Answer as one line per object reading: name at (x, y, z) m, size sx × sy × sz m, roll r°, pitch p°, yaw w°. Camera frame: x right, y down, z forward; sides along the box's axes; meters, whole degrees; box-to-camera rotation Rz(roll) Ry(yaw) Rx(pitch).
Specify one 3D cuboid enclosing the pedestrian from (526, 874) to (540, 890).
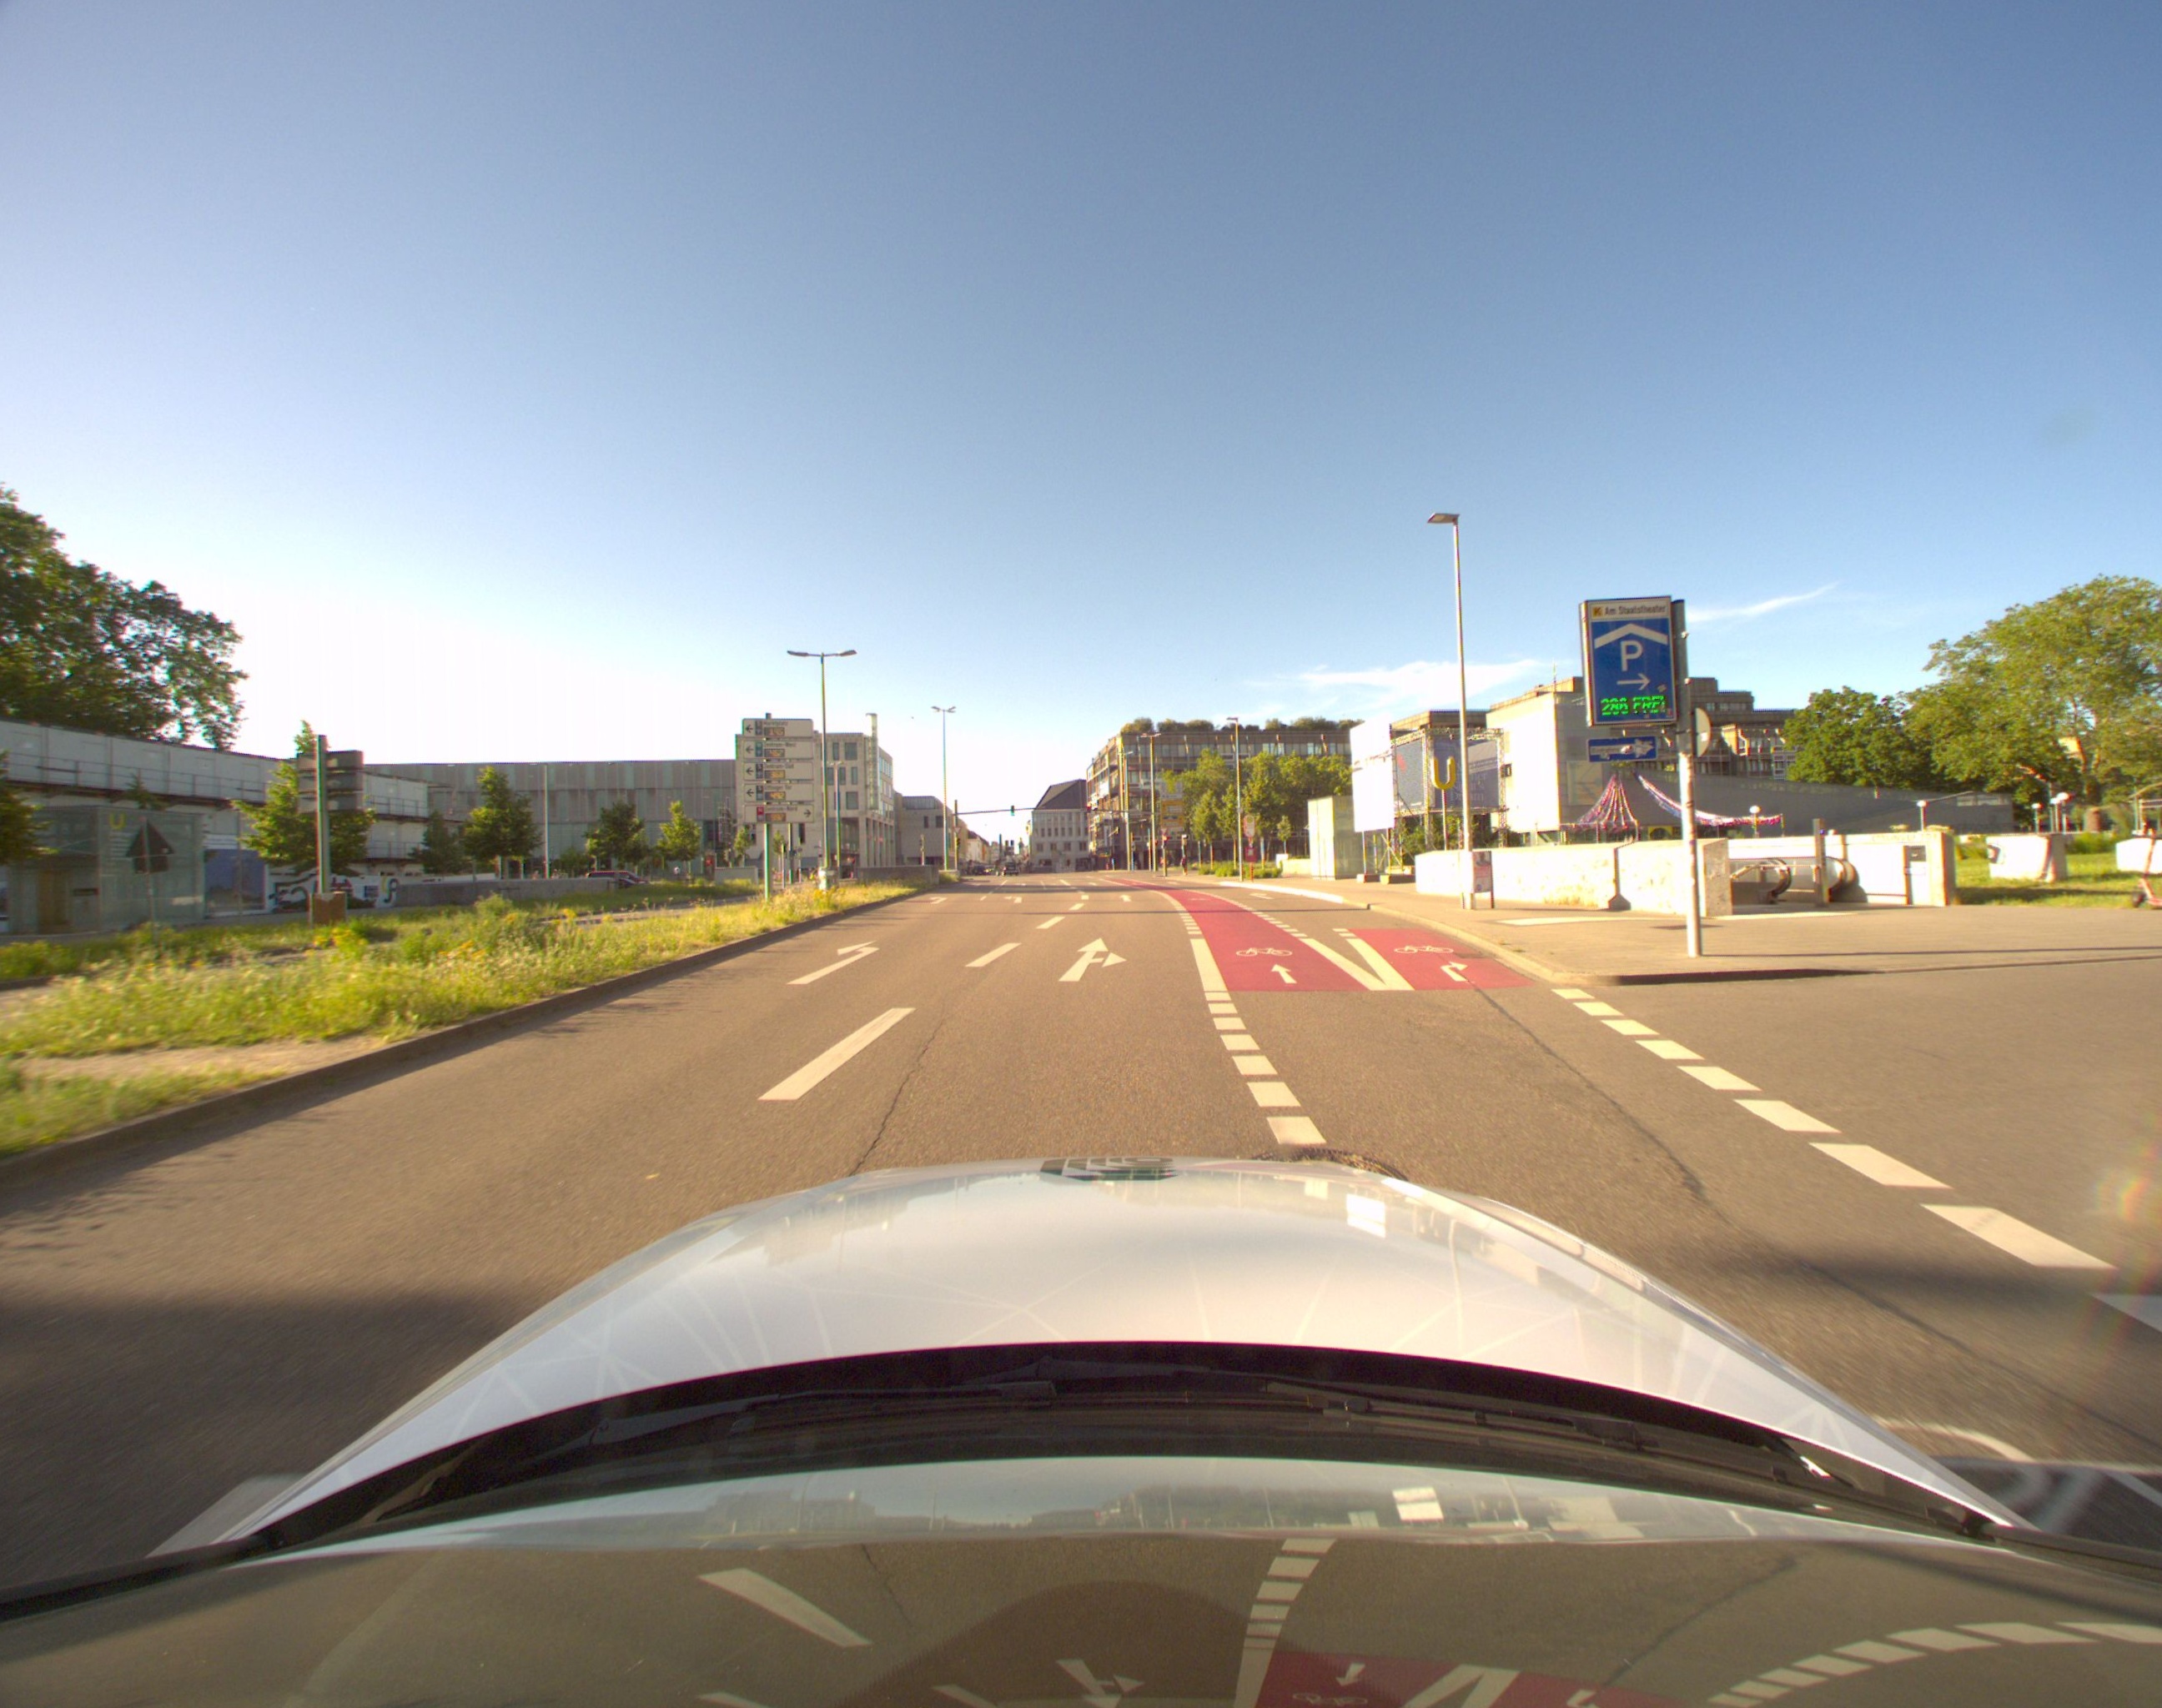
pedestrian at (-51.790, 2.640, 76.976) m, size 0.801 × 1.502 × 0.721 m, roll -2°, pitch -1°, yaw -11°

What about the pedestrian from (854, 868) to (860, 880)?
pedestrian at (-31.073, 2.807, 112.814) m, size 0.621 × 1.608 × 0.652 m, roll -2°, pitch -1°, yaw -4°

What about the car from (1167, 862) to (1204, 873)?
car at (14.180, 1.873, 110.970) m, size 4.627 × 1.356 × 1.995 m, roll -1°, pitch 0°, yaw -7°

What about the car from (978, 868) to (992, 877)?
car at (-16.062, 3.097, 136.030) m, size 1.989 × 1.356 × 4.640 m, roll -1°, pitch 0°, yaw -3°

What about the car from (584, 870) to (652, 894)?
car at (-39.138, 2.391, 68.916) m, size 4.642 × 1.810 × 1.864 m, roll -2°, pitch -3°, yaw -12°

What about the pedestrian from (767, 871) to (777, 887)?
pedestrian at (-29.823, 2.418, 78.594) m, size 0.722 × 1.502 × 0.799 m, roll -1°, pitch -1°, yaw -13°

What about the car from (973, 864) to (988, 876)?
car at (-15.446, 2.479, 125.897) m, size 1.989 × 1.742 × 4.640 m, roll -1°, pitch 0°, yaw -4°

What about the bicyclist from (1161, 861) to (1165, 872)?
bicyclist at (10.476, 1.601, 104.059) m, size 0.507 × 1.338 × 0.452 m, roll -2°, pitch -1°, yaw -1°

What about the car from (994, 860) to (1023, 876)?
car at (-7.593, 1.458, 84.759) m, size 1.785 × 1.564 × 3.757 m, roll -2°, pitch -1°, yaw -26°

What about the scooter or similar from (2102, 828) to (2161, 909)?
scooter or similar at (16.956, 0.222, 12.760) m, size 0.358 × 1.245 × 1.373 m, roll -3°, pitch -1°, yaw 12°

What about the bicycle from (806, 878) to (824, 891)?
bicycle at (-19.743, 2.262, 60.456) m, size 0.609 × 0.861 × 1.952 m, roll -2°, pitch -1°, yaw 2°

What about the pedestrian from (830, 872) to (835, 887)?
pedestrian at (-34.598, 3.556, 113.348) m, size 0.623 × 2.014 × 0.514 m, roll -1°, pitch -1°, yaw -12°

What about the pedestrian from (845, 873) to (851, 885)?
pedestrian at (-32.186, 3.456, 112.611) m, size 0.621 × 1.608 × 0.652 m, roll -2°, pitch -1°, yaw -4°

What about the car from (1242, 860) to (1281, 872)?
car at (24.220, 1.592, 109.312) m, size 4.627 × 1.356 × 1.995 m, roll -1°, pitch 0°, yaw -7°

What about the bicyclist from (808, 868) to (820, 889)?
bicyclist at (-19.750, 1.816, 60.310) m, size 0.605 × 1.489 × 0.681 m, roll -2°, pitch -1°, yaw 2°

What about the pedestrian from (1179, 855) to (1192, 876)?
pedestrian at (8.863, 0.979, 69.216) m, size 0.815 × 1.748 × 1.046 m, roll -3°, pitch -1°, yaw 18°

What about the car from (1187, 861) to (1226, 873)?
car at (15.930, 1.641, 103.442) m, size 4.627 × 1.356 × 1.995 m, roll -1°, pitch 0°, yaw -7°
